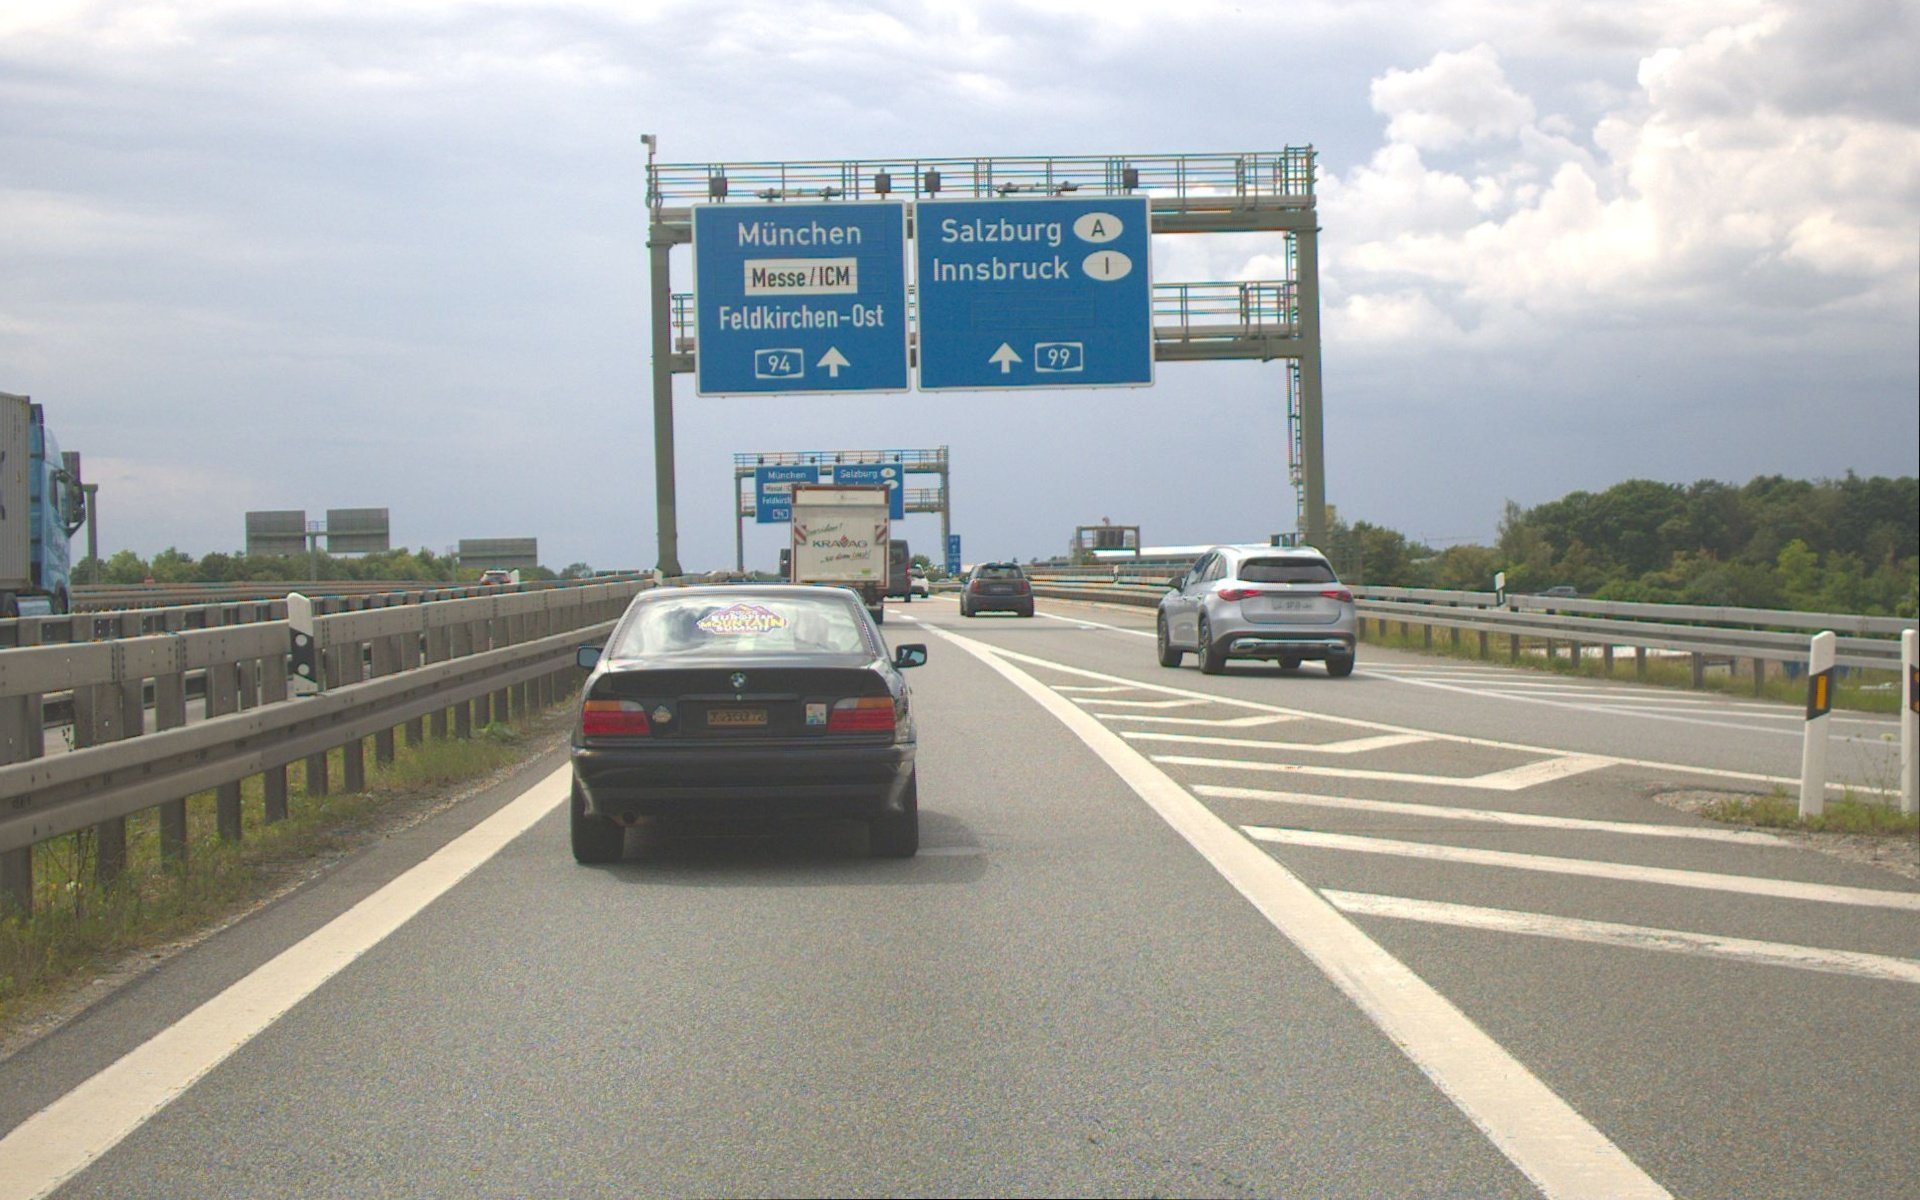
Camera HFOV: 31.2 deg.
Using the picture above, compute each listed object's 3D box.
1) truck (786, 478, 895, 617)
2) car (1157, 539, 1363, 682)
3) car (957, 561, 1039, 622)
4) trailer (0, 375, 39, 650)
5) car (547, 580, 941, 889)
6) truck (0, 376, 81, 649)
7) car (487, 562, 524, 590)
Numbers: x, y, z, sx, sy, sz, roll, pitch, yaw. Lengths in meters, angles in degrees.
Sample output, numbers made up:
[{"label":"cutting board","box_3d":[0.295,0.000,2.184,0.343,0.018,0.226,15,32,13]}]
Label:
[{"label":"truck","box_3d":[-2.715,-1.207,78.929,2.404,3.079,6.371,0,1,-2]},{"label":"car","box_3d":[3.791,0.094,44.135,1.935,1.679,4.210,-1,2,-5]},{"label":"car","box_3d":[0.959,-0.242,89.240,1.993,1.547,4.000,0,1,-1]},{"label":"trailer","box_3d":[-15.078,-1.216,45.343,3.236,3.911,12.382,0,1,-3]},{"label":"car","box_3d":[-1.038,0.599,17.664,1.782,1.373,4.137,0,1,-2]},{"label":"truck","box_3d":[-15.559,-1.289,52.073,3.246,3.898,6.611,0,1,-4]},{"label":"car","box_3d":[-26.303,-1.391,198.890,1.892,1.592,4.418,0,1,-5]}]
